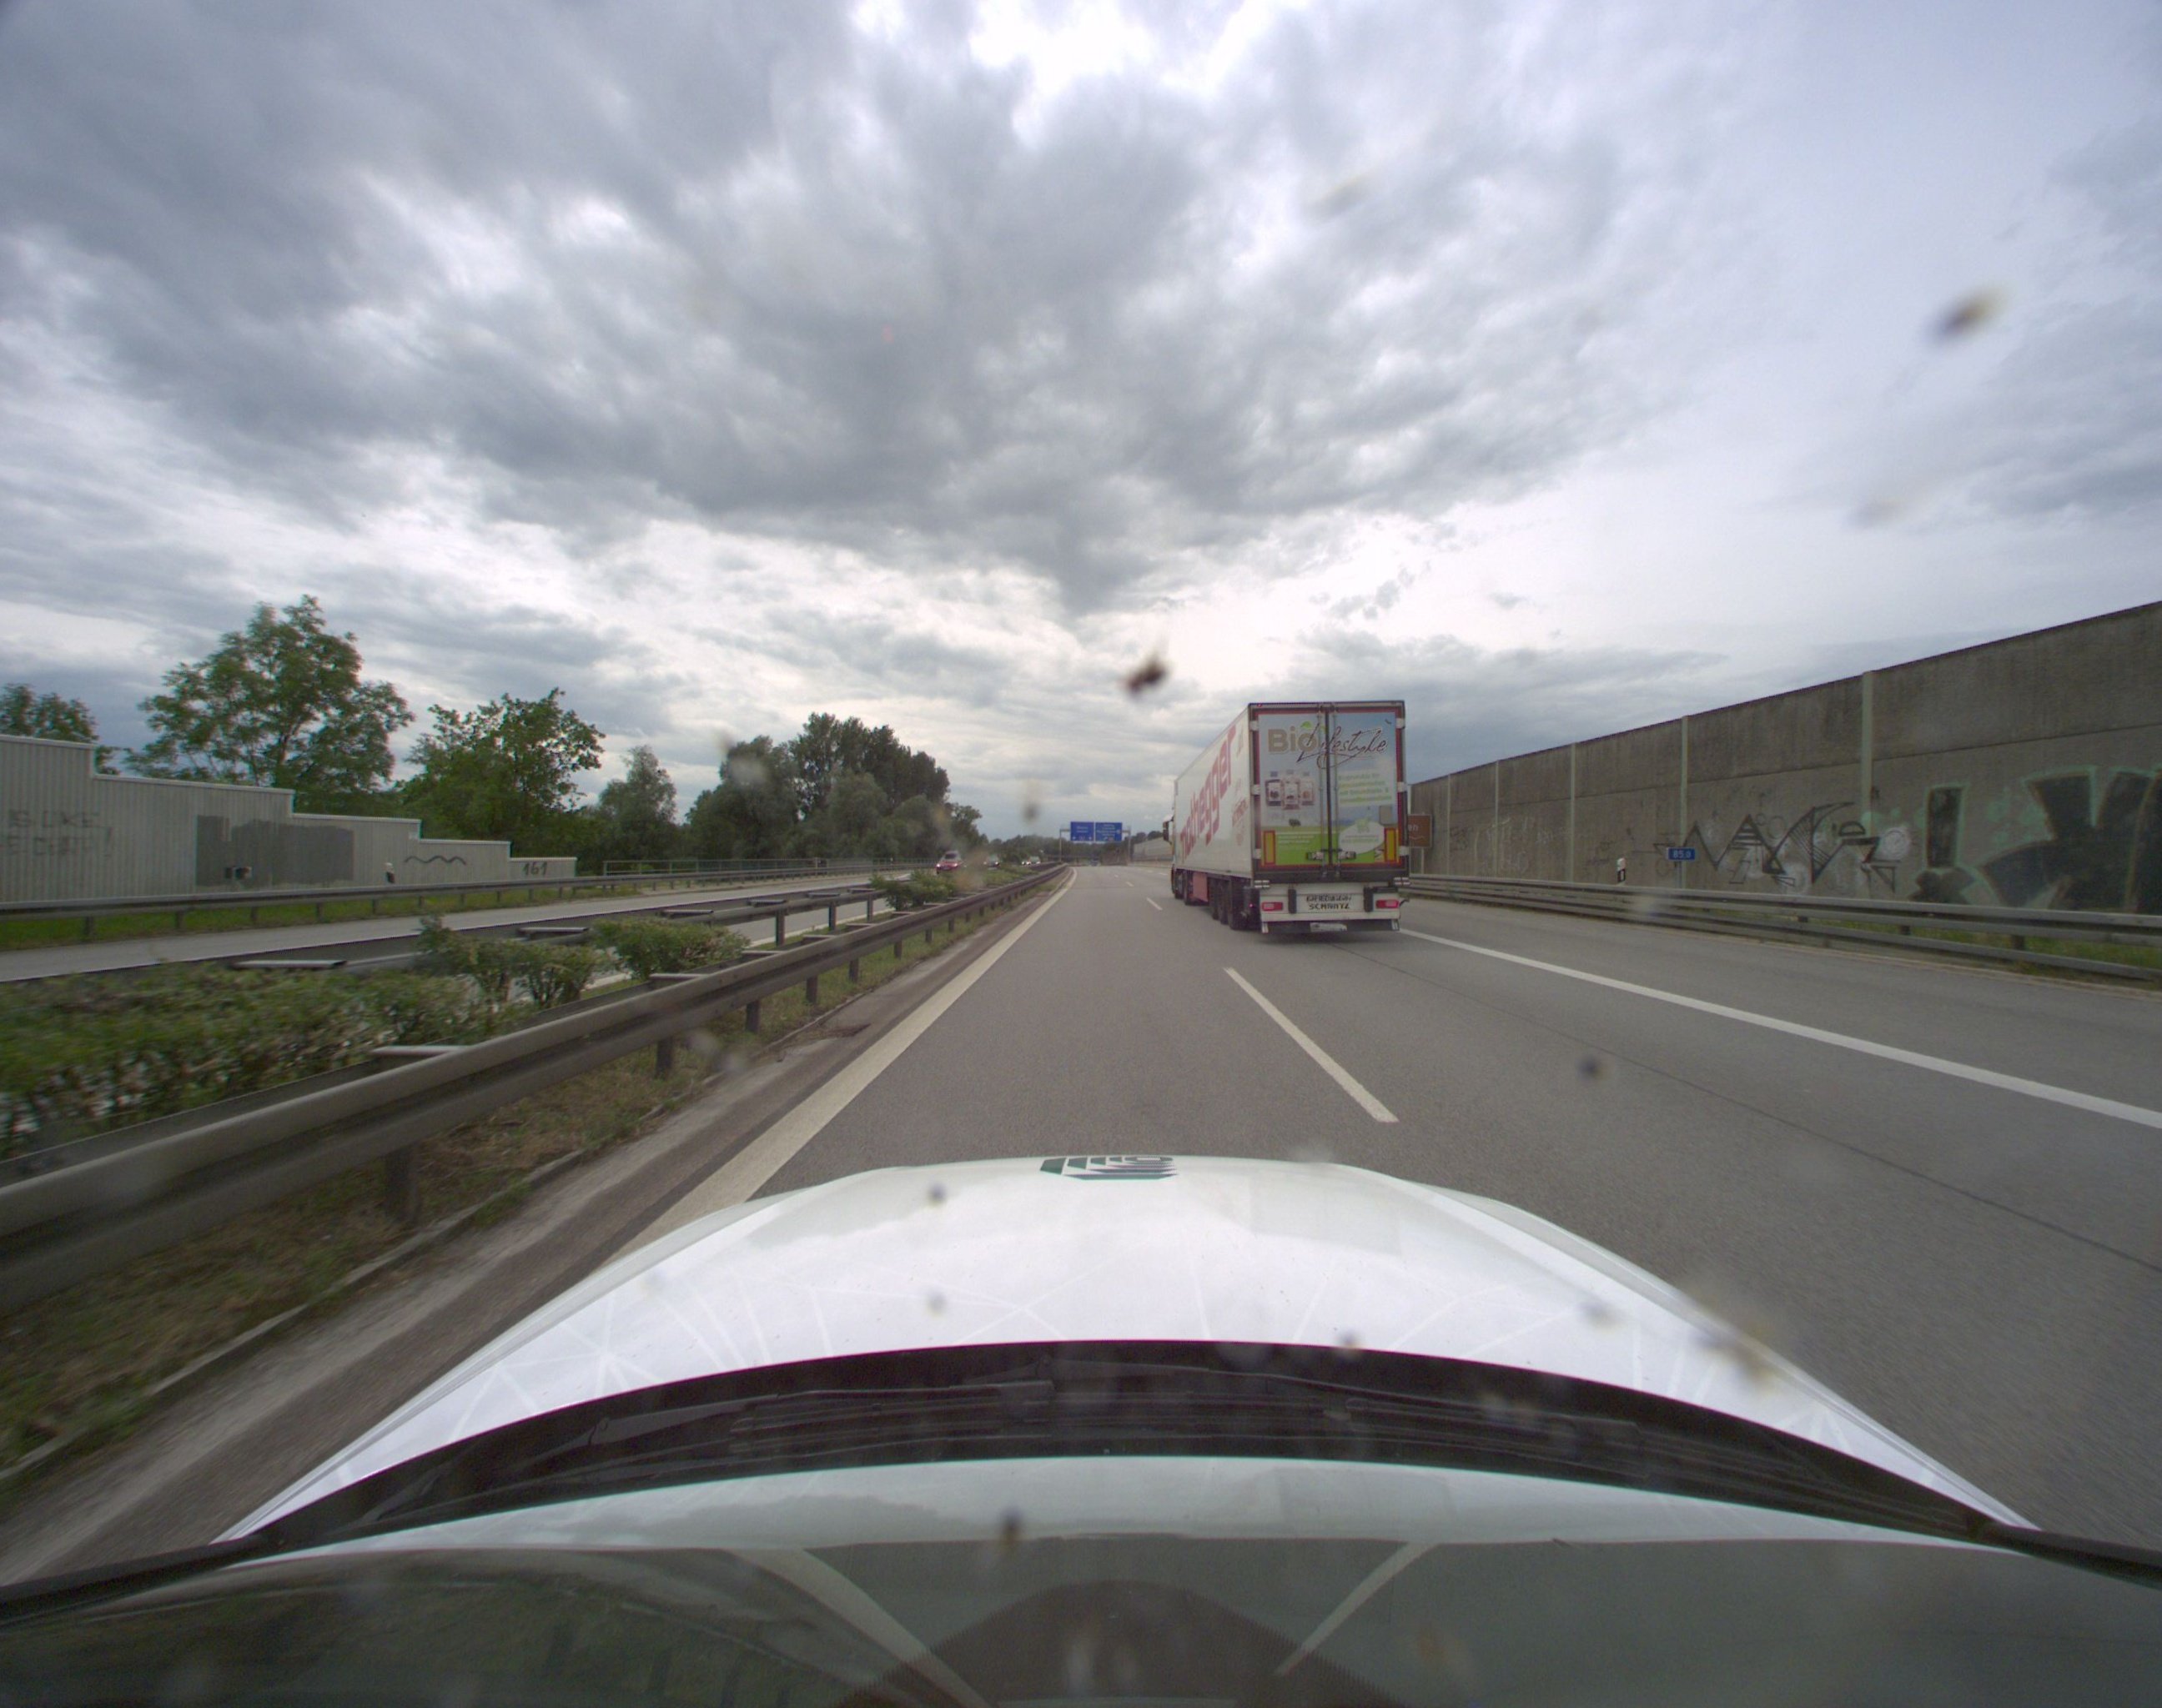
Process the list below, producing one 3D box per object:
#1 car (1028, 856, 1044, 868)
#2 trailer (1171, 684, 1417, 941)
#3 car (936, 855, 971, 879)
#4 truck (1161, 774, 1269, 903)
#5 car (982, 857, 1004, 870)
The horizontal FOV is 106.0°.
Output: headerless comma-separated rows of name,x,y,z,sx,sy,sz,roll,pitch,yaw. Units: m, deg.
car,-6.293,1.118,113.876,1.835,1.531,4.835,-1,0,0
trailer,4.260,-0.643,20.375,2.782,4.175,14.107,-1,0,2
car,-10.038,0.997,64.562,1.963,1.761,4.944,0,0,0
truck,4.406,-0.471,27.951,2.747,3.959,5.676,-1,0,0
car,-10.191,1.042,94.527,1.963,1.403,4.709,-1,0,0
